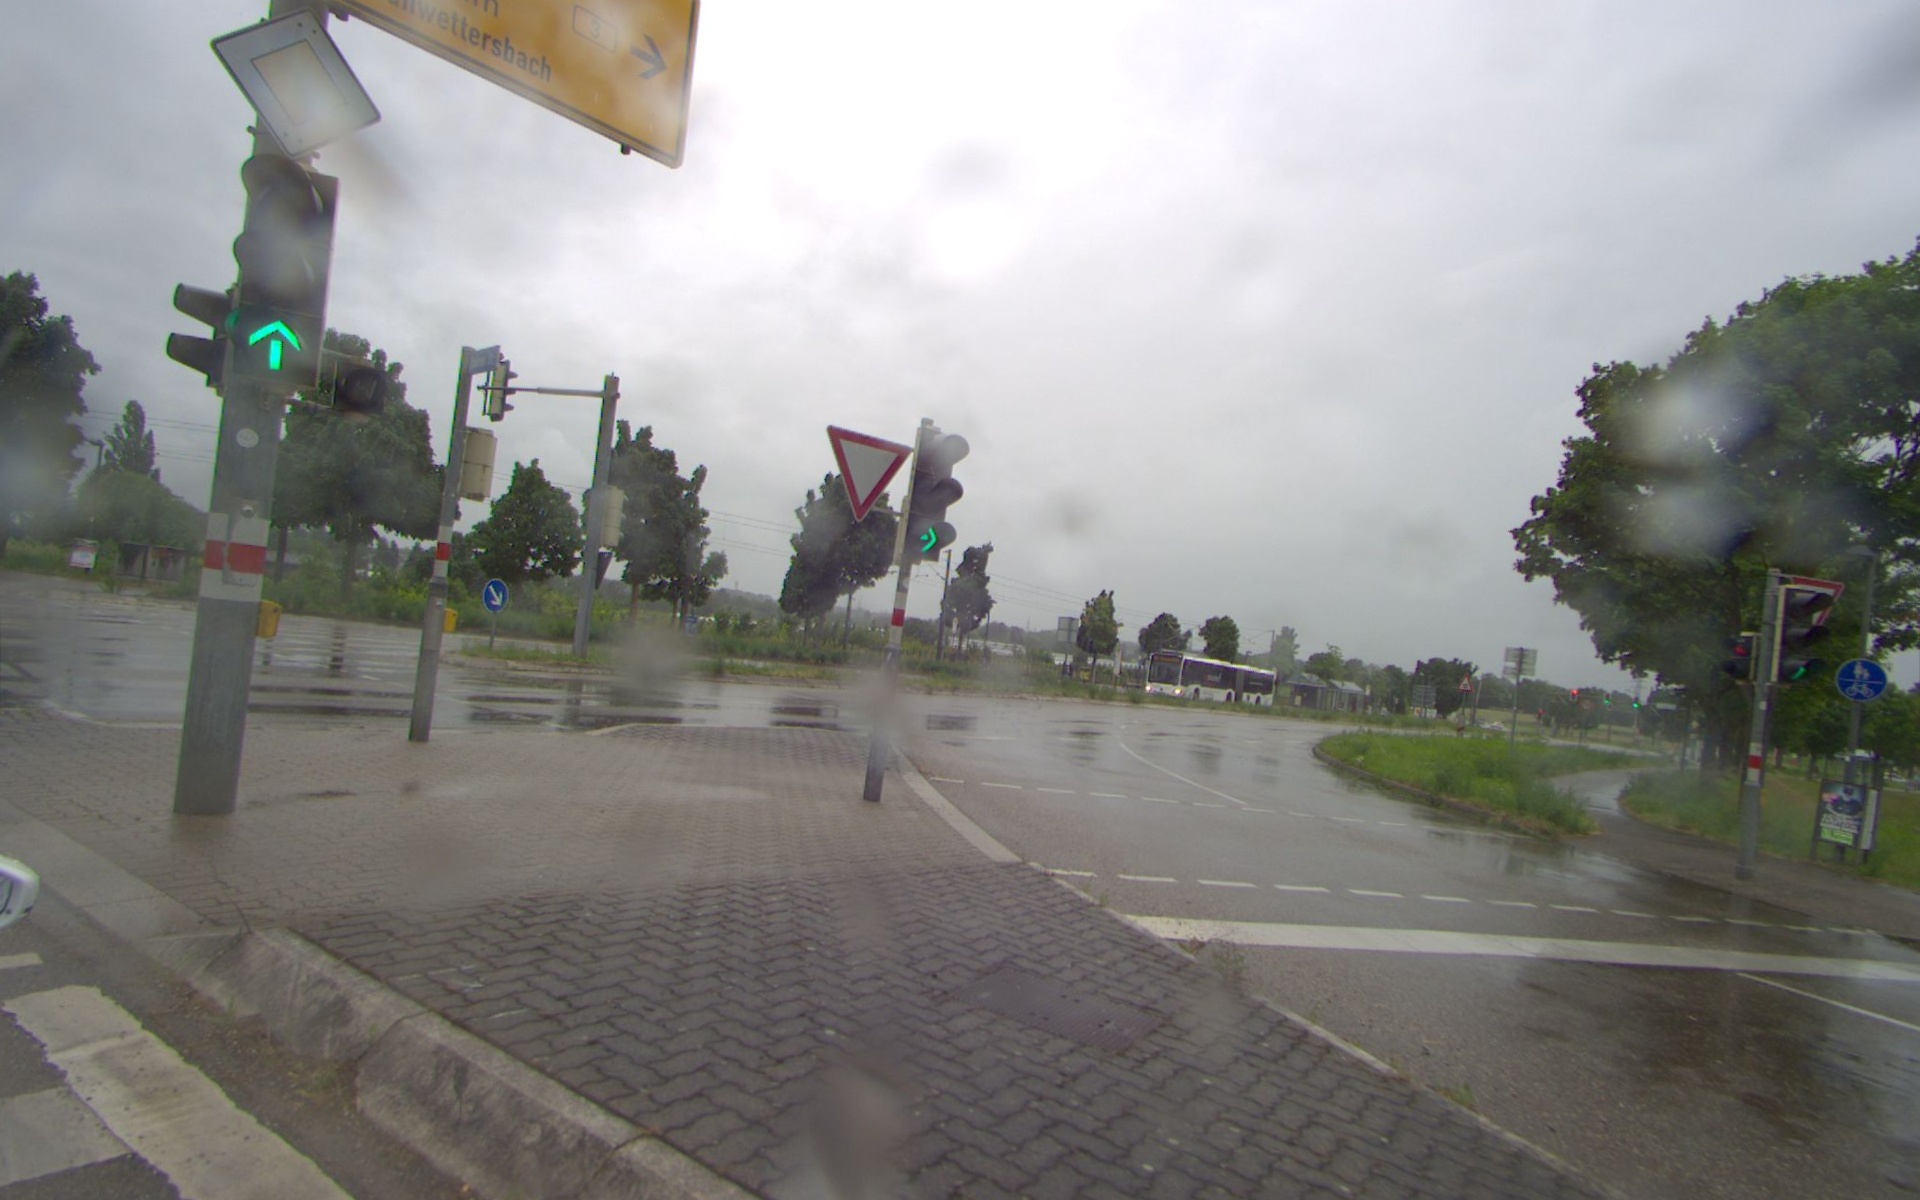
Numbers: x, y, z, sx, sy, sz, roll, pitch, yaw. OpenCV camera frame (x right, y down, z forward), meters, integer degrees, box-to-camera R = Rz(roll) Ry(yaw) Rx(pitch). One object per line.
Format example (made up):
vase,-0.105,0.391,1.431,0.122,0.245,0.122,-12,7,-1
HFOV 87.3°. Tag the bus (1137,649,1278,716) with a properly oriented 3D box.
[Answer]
bus,18.146,6.092,71.805,2.714,3.827,18.388,6,-2,36
